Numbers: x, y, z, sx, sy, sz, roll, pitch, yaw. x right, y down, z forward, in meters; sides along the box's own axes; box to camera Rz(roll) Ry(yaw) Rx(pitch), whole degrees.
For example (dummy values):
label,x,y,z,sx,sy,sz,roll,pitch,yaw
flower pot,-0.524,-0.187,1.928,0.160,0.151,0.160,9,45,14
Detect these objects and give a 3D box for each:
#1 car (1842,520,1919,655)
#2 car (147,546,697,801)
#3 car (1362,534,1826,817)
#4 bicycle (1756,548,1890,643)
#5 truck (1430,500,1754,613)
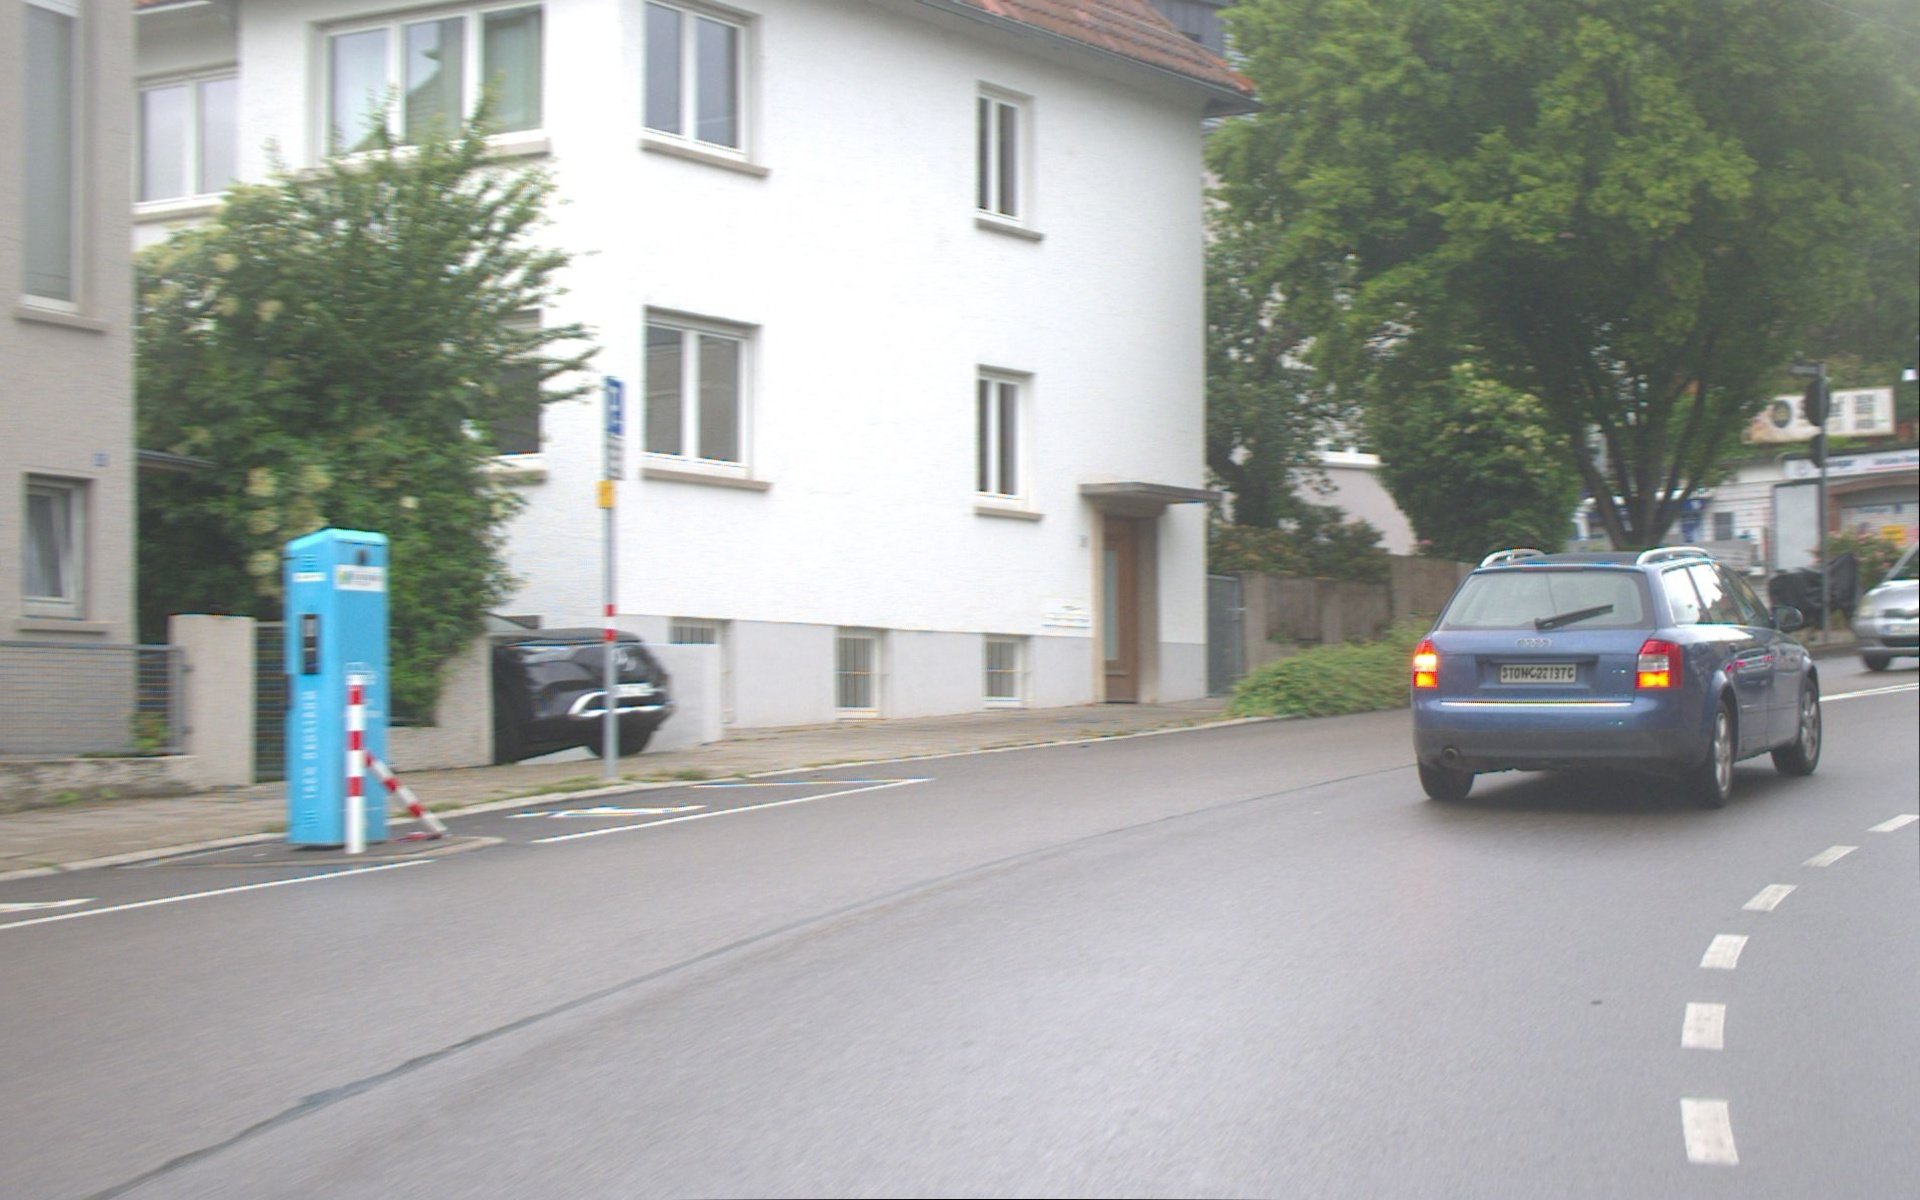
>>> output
label,x,y,z,sx,sy,sz,roll,pitch,yaw
car,11.339,-0.155,37.659,3.847,1.418,1.491,-1,2,-45
car,-4.604,0.636,29.242,4.247,1.618,1.996,-9,-4,33
car,3.881,0.388,20.486,1.813,1.434,4.077,-2,1,23
bicycle,10.936,-0.068,43.520,1.957,1.081,0.422,-4,3,-34
truck,13.151,-0.938,72.002,2.308,2.261,6.808,-1,1,-39
